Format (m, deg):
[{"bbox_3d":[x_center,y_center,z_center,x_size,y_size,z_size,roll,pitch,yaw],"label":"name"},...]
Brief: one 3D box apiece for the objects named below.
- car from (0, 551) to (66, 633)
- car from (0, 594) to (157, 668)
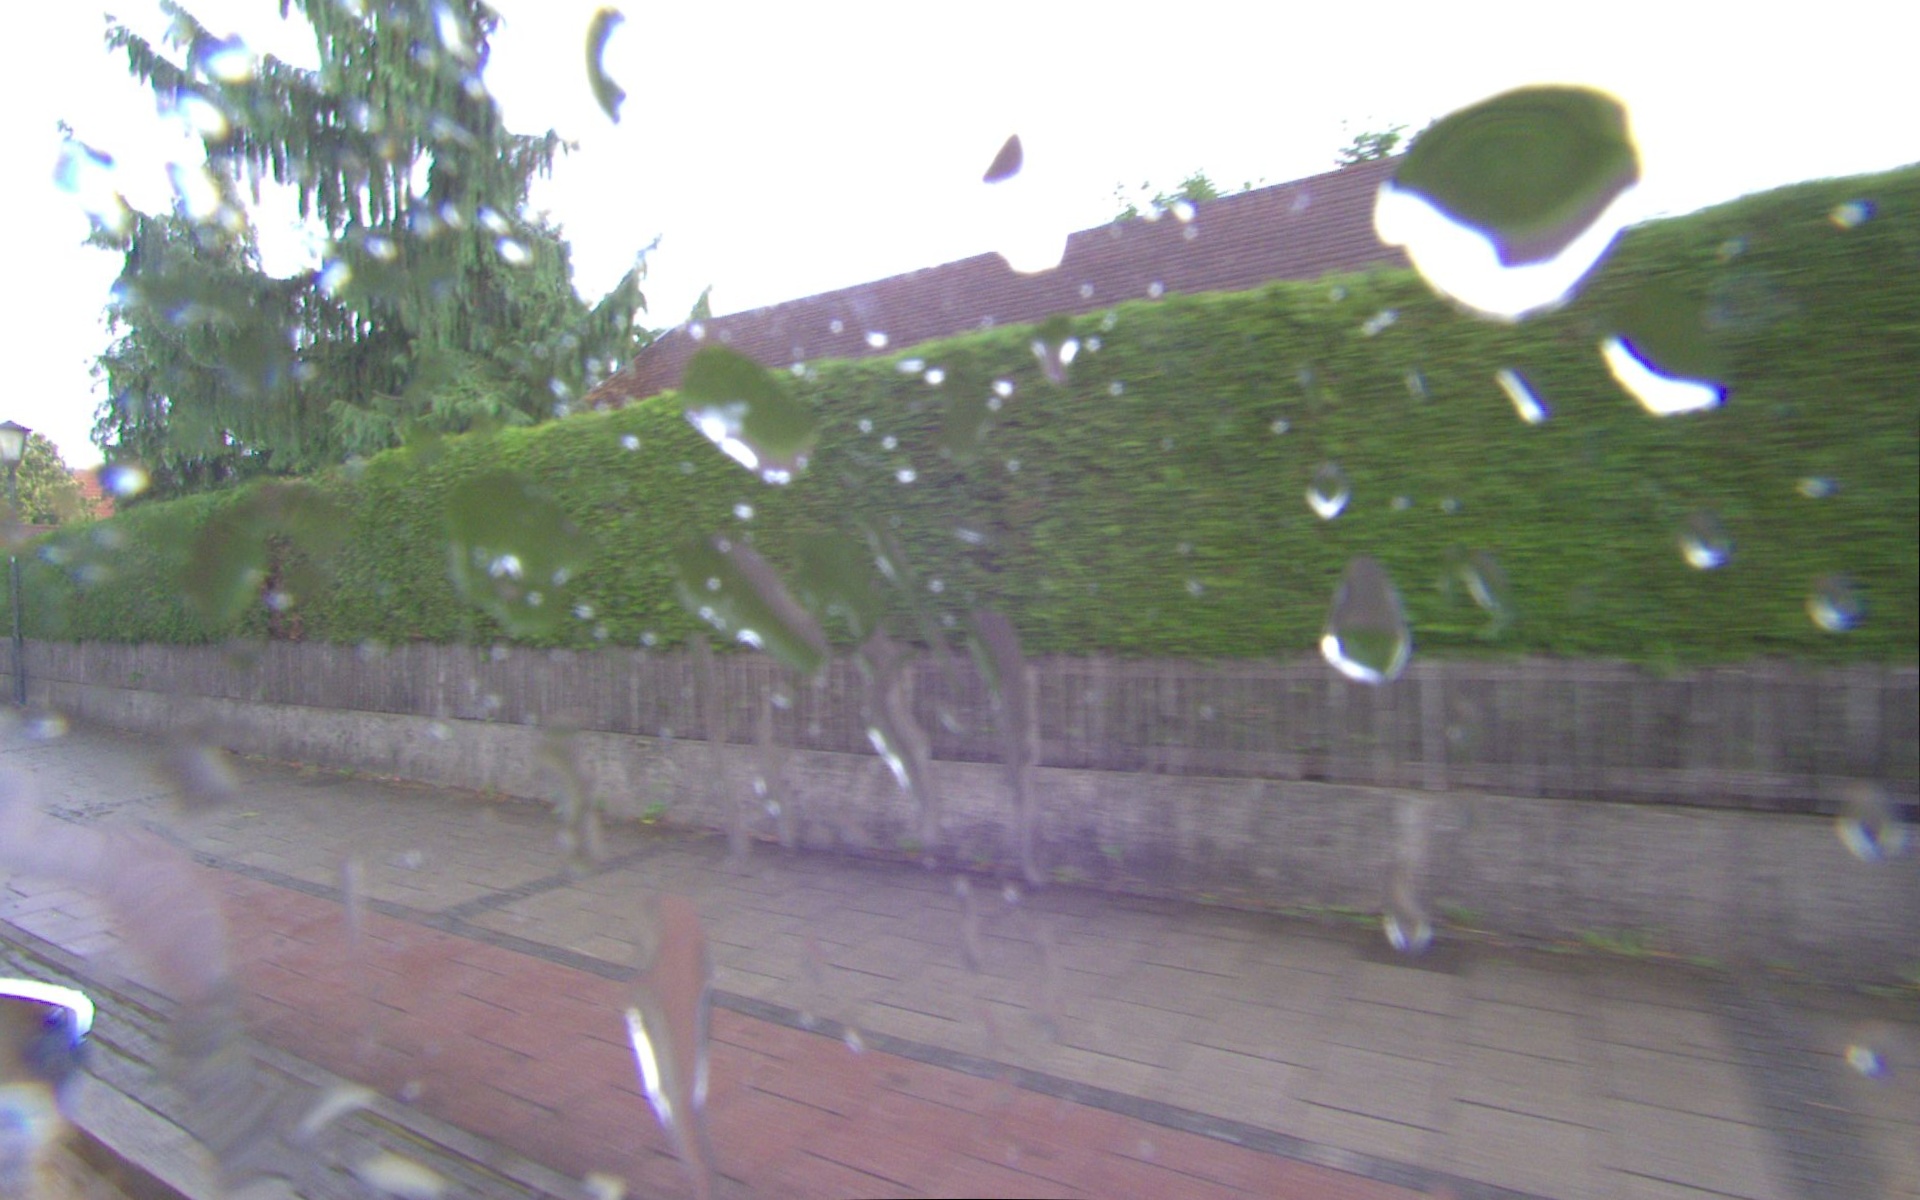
[{"bbox_3d":[-28.225,-0.160,28.766,4.871,2.201,1.995,-1,-2,24],"label":"car"},{"bbox_3d":[-23.779,0.772,26.139,1.670,1.776,4.082,2,2,34],"label":"car"}]
